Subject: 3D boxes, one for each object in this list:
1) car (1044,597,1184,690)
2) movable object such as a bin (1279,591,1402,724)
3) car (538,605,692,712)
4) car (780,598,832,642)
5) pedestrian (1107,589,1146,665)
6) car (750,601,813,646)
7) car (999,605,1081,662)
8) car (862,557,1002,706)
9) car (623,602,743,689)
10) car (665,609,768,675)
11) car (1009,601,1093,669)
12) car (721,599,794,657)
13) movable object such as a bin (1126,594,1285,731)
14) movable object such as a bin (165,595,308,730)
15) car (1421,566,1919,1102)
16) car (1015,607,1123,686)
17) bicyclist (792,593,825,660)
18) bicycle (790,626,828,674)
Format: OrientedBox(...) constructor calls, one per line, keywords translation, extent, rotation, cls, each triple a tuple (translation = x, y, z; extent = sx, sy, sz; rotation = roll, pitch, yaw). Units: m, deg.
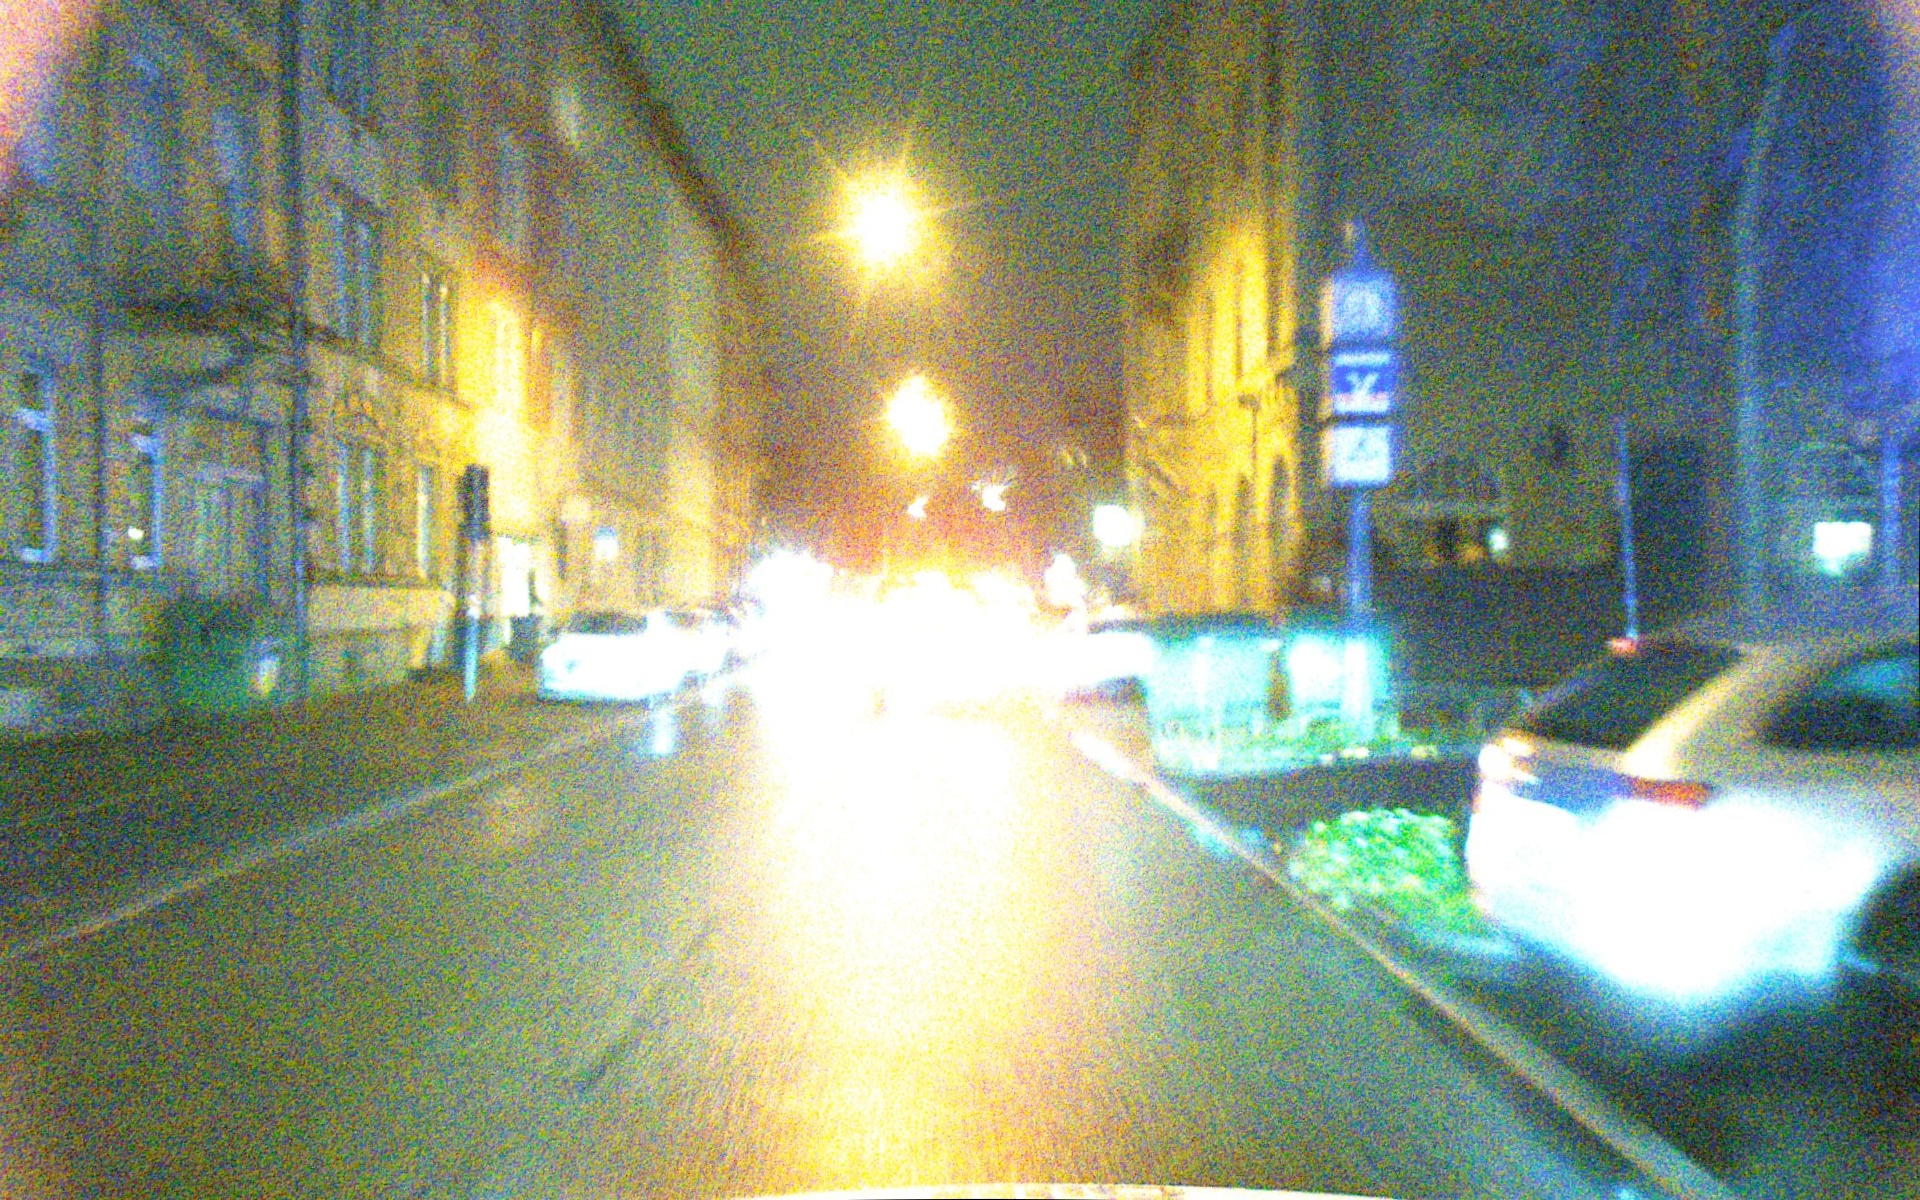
OrientedBox(translation=(2.577, 0.710, 28.750), extent=(1.953, 1.490, 4.415), rotation=(0, 0, -1), cls="car")
OrientedBox(translation=(4.278, 0.630, 18.700), extent=(1.281, 1.454, 1.051), rotation=(0, 0, 8), cls="movable object such as a bin")
OrientedBox(translation=(-5.311, 0.860, 25.882), extent=(1.638, 1.517, 3.721), rotation=(1, 0, -1), cls="car")
OrientedBox(translation=(-6.365, 0.803, 68.650), extent=(1.795, 1.747, 4.593), rotation=(0, 0, -1), cls="car")
OrientedBox(translation=(4.136, 0.656, 41.057), extent=(0.844, 1.819, 1.083), rotation=(-2, 1, 2), cls="pedestrian")
OrientedBox(translation=(-6.213, 0.790, 57.982), extent=(1.795, 1.512, 4.593), rotation=(0, 0, -1), cls="car")
OrientedBox(translation=(2.087, 0.863, 44.286), extent=(1.878, 1.436, 3.998), rotation=(0, 0, -2), cls="car")
OrientedBox(translation=(-0.404, 0.442, 25.624), extent=(1.955, 2.085, 4.693), rotation=(0, 0, 0), cls="car")
OrientedBox(translation=(-5.400, 0.854, 32.652), extent=(1.738, 1.600, 4.133), rotation=(0, 0, -1), cls="car")
OrientedBox(translation=(-5.557, 0.928, 38.211), extent=(1.785, 1.414, 4.424), rotation=(0, 0, -1), cls="car")
OrientedBox(translation=(2.107, 0.786, 39.120), extent=(1.655, 1.524, 3.890), rotation=(0, 0, -2), cls="car")
OrientedBox(translation=(-5.901, 0.789, 48.456), extent=(1.709, 1.616, 3.765), rotation=(0, 0, -1), cls="car")
OrientedBox(translation=(2.731, 0.672, 18.444), extent=(1.327, 1.454, 1.185), rotation=(0, -1, -37), cls="movable object such as a bin")
OrientedBox(translation=(-8.325, 0.695, 19.095), extent=(1.079, 1.479, 1.378), rotation=(-1, 0, -3), cls="movable object such as a bin")
OrientedBox(translation=(4.151, 0.641, 5.974), extent=(4.421, 1.557, 1.780), rotation=(-2, 1, -2), cls="car")
OrientedBox(translation=(2.153, 0.898, 33.704), extent=(1.656, 1.524, 3.887), rotation=(0, 0, -5), cls="car")
OrientedBox(translation=(-3.637, 0.621, 39.677), extent=(0.704, 1.583, 0.895), rotation=(-1, 0, -1), cls="bicyclist")
OrientedBox(translation=(-3.609, 1.176, 39.677), extent=(0.712, 1.091, 2.348), rotation=(-1, 0, -1), cls="bicycle")
